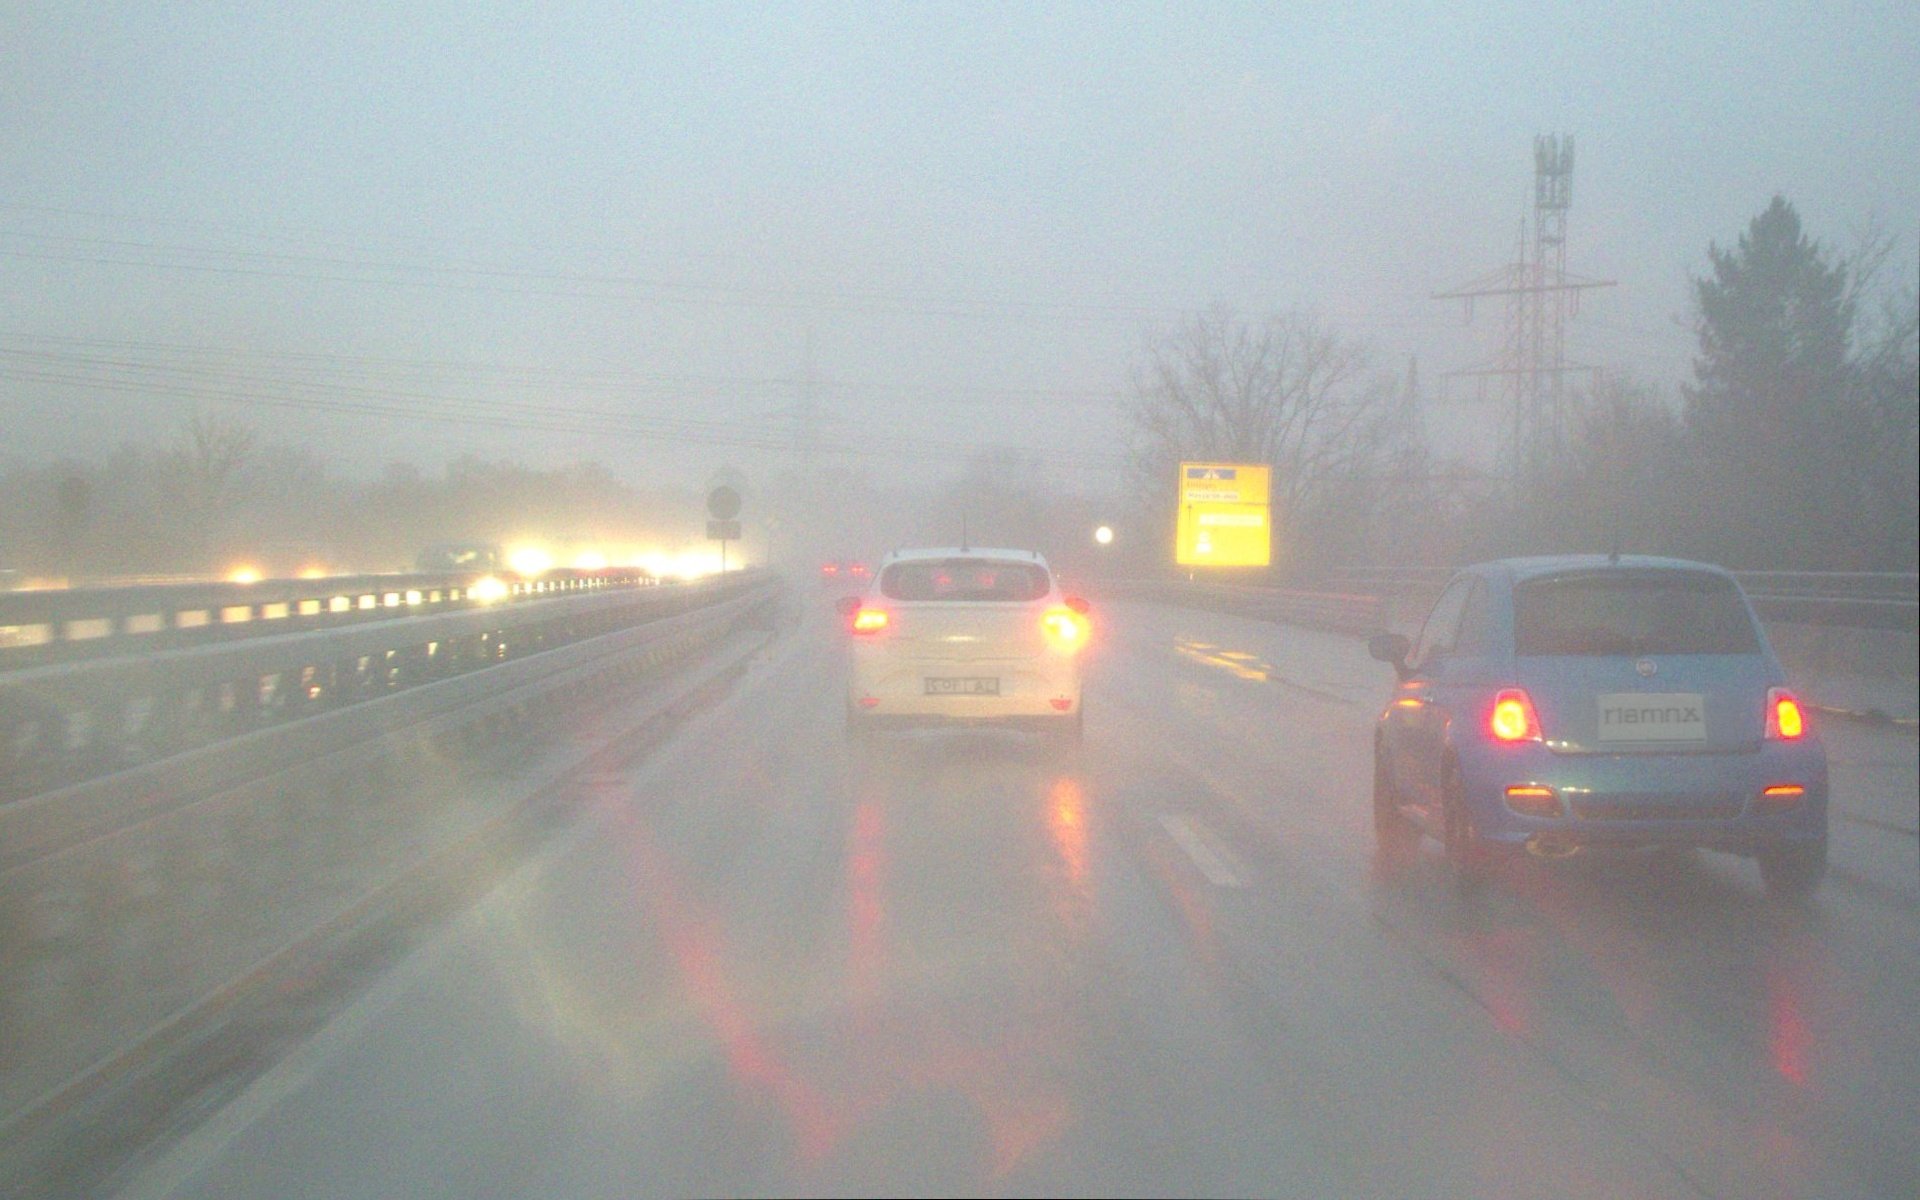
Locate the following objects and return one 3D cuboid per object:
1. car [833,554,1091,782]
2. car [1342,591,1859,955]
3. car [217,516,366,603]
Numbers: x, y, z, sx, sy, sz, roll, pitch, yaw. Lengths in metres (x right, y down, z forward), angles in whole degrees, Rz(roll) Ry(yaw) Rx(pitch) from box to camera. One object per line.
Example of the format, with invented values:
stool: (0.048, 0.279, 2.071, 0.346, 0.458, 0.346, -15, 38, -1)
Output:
car: (0.017, 0.474, 26.693, 1.845, 1.630, 3.768, 1, 0, 0)
car: (3.008, 0.746, 16.991, 1.845, 1.448, 4.149, 0, 2, 1)
car: (-12.742, -0.793, 65.799, 1.993, 1.591, 4.657, 1, 1, -1)
